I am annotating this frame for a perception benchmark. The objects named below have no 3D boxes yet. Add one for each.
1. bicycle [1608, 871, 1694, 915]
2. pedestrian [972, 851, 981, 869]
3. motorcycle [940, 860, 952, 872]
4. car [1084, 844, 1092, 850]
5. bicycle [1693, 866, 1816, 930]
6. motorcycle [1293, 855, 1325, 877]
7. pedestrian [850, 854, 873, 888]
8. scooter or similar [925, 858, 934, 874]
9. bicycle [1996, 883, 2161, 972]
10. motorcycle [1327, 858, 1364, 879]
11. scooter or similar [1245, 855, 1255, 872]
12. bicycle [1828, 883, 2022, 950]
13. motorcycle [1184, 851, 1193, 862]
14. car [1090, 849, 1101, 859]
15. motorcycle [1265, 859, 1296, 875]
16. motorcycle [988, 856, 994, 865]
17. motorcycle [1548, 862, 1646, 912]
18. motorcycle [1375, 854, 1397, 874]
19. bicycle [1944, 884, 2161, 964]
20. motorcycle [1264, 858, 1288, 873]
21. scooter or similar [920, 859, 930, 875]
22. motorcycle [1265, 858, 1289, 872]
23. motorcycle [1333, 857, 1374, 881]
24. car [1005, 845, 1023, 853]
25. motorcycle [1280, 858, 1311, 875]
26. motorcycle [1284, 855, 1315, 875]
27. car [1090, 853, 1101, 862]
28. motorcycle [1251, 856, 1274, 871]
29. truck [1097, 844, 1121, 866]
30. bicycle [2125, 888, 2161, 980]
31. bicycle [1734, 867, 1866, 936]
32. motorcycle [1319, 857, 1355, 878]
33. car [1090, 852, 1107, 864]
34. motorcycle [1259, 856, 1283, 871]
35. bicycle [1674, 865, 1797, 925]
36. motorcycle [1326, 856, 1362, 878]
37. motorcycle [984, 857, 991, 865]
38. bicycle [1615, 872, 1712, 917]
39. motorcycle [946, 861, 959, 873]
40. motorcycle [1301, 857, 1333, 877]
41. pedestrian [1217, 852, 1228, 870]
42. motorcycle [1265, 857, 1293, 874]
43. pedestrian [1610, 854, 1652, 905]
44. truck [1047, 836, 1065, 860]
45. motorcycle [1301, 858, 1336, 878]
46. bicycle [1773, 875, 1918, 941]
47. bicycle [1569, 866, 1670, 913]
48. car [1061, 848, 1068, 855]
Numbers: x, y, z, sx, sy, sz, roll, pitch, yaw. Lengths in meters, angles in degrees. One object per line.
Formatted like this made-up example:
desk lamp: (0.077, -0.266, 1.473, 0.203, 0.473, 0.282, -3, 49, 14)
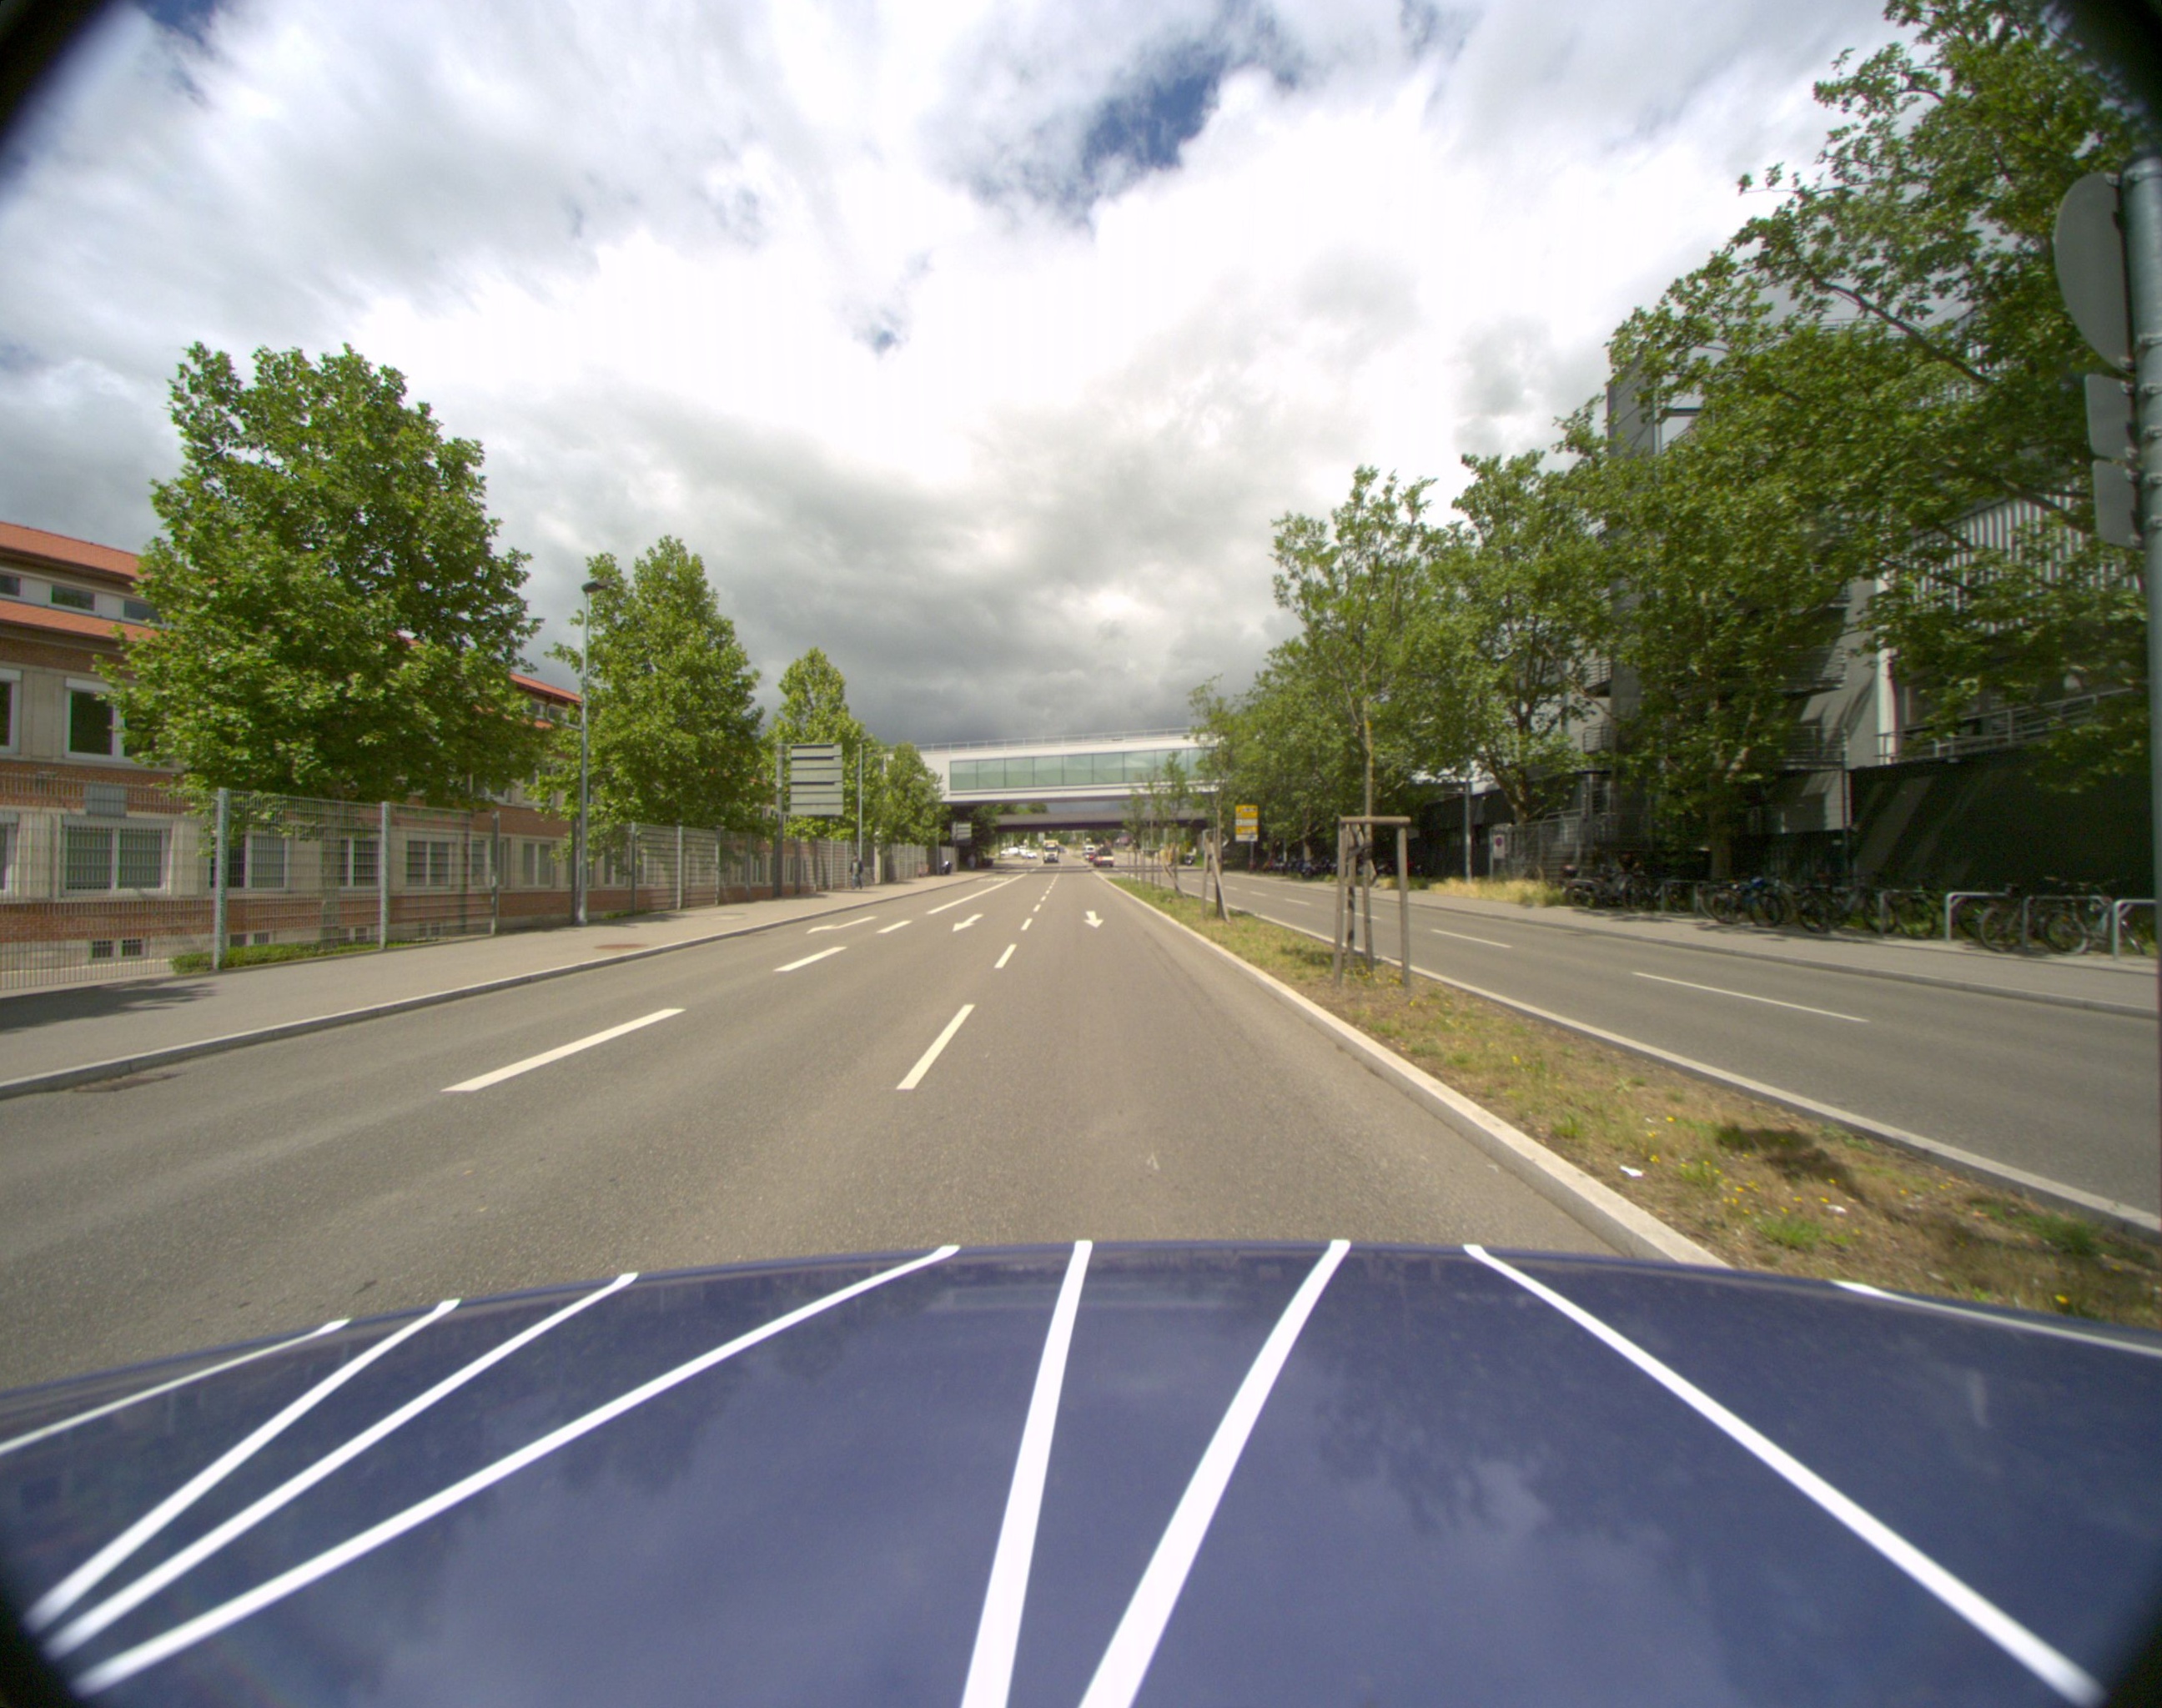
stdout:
bicycle: (14.706, 1.000, 19.613, 1.929, 1.068, 0.422, -1, 1, -2)
pedestrian: (-11.410, 0.651, 82.890, 0.791, 1.877, 1.097, 0, 1, -1)
motorcycle: (-11.914, 1.055, 67.072, 0.670, 1.058, 2.246, 2, 0, -1)
car: (1.955, -1.889, 205.981, 1.998, 1.346, 4.000, 0, 0, 1)
bicycle: (14.306, 0.922, 16.171, 1.923, 1.275, 0.806, -1, 0, -2)
motorcycle: (15.036, 0.792, 50.101, 1.934, 1.336, 0.866, -3, -1, 20)
pedestrian: (-11.379, 0.868, 39.374, 0.879, 1.733, 0.940, 1, 1, -1)
scooter or similar: (-12.302, 0.999, 61.772, 0.492, 1.287, 1.336, 0, 1, -1)
bicycle: (14.536, 1.006, 10.530, 2.569, 1.151, 0.644, -1, 0, 10)
motorcycle: (15.219, 0.842, 43.760, 1.880, 1.078, 0.795, -3, -1, 15)
scooter or similar: (13.081, 0.752, 58.838, 0.355, 1.229, 1.479, -2, 1, -1)
bicycle: (14.738, 1.059, 13.293, 2.844, 1.000, 0.850, -1, 0, -9)
motorcycle: (12.685, 0.262, 89.673, 0.641, 1.191, 2.257, -3, 1, -1)
car: (2.770, 0.015, 146.269, 1.813, 1.770, 4.977, -1, 0, -1)
motorcycle: (14.601, 0.949, 55.583, 1.939, 1.109, 0.920, 1, 1, -12)
motorcycle: (-12.144, 0.890, 102.526, 0.679, 1.137, 2.160, 0, 0, -2)
motorcycle: (14.217, 0.901, 20.968, 2.139, 1.301, 0.806, -1, 0, -2)
motorcycle: (18.644, 0.629, 46.463, 0.654, 1.202, 1.984, -3, -1, 4)
bicycle: (14.716, 1.021, 11.333, 2.569, 1.089, 0.696, 0, 1, 10)
motorcycle: (15.168, 0.895, 59.119, 1.595, 1.116, 0.776, -3, -1, 1)
scooter or similar: (-12.278, 1.024, 59.873, 0.492, 1.287, 1.336, 0, 1, -1)
motorcycle: (14.890, 0.853, 57.746, 1.595, 1.027, 0.776, -3, -1, 1)
motorcycle: (14.518, 0.819, 40.495, 1.881, 1.166, 0.746, -3, -1, 9)
car: (-17.217, -1.338, 194.665, 4.250, 1.796, 1.829, -2, 1, 5)
motorcycle: (15.175, 0.899, 53.845, 1.933, 1.109, 0.923, -3, -1, 27)
motorcycle: (15.098, 0.789, 52.409, 1.934, 1.283, 0.894, -3, -1, 20)
car: (2.469, 0.508, 128.076, 1.713, 1.445, 4.479, -1, 0, 0)
motorcycle: (14.918, 0.771, 62.539, 1.745, 1.164, 0.777, -3, -1, 8)
truck: (3.527, 0.112, 97.110, 2.486, 2.735, 6.456, -1, 0, -3)
bicycle: (14.967, 0.994, 9.436, 2.569, 1.151, 0.726, -1, 0, 10)
bicycle: (14.322, 0.923, 15.169, 1.923, 1.275, 0.806, -1, 1, -2)
motorcycle: (15.492, 0.824, 45.974, 1.882, 1.172, 0.698, -3, -1, 3)
car: (2.449, 0.620, 107.174, 1.910, 1.621, 4.291, -1, 0, -4)
motorcycle: (15.134, 0.766, 60.433, 1.596, 1.116, 0.775, -3, -1, -9)
bicycle: (14.869, 0.913, 17.295, 2.139, 1.275, 0.806, -1, 0, -2)
motorcycle: (15.513, 0.789, 44.847, 1.882, 1.202, 0.655, -3, -1, 3)
motorcycle: (-12.333, 0.914, 100.075, 0.679, 1.148, 2.112, 0, 0, 0)
bicycle: (14.653, 1.003, 19.143, 2.086, 1.056, 0.497, -1, 1, -2)
motorcycle: (-11.865, 1.177, 70.204, 0.709, 1.058, 2.510, 2, 0, -1)
motorcycle: (15.049, 0.831, 48.558, 1.880, 1.172, 0.816, -3, -1, 14)
pedestrian: (13.199, 0.649, 71.082, 0.769, 1.603, 0.813, -3, 1, -1)
motorcycle: (14.747, 0.855, 56.685, 1.752, 1.172, 0.852, -3, -1, -12)
pedestrian: (16.968, 0.772, 23.453, 0.755, 1.543, 0.821, -1, 0, 10)
truck: (-4.298, -1.023, 131.066, 2.787, 3.981, 10.085, -1, 0, -1)
motorcycle: (14.761, 0.875, 47.277, 1.881, 1.172, 0.815, -3, -1, 9)
bicycle: (14.224, 0.990, 14.178, 1.923, 1.116, 0.806, -1, 0, -2)
bicycle: (14.397, 0.939, 20.358, 2.139, 1.173, 0.806, -1, 0, -2)
car: (-4.716, -0.770, 216.500, 1.999, 2.002, 4.000, -1, 0, -1)
